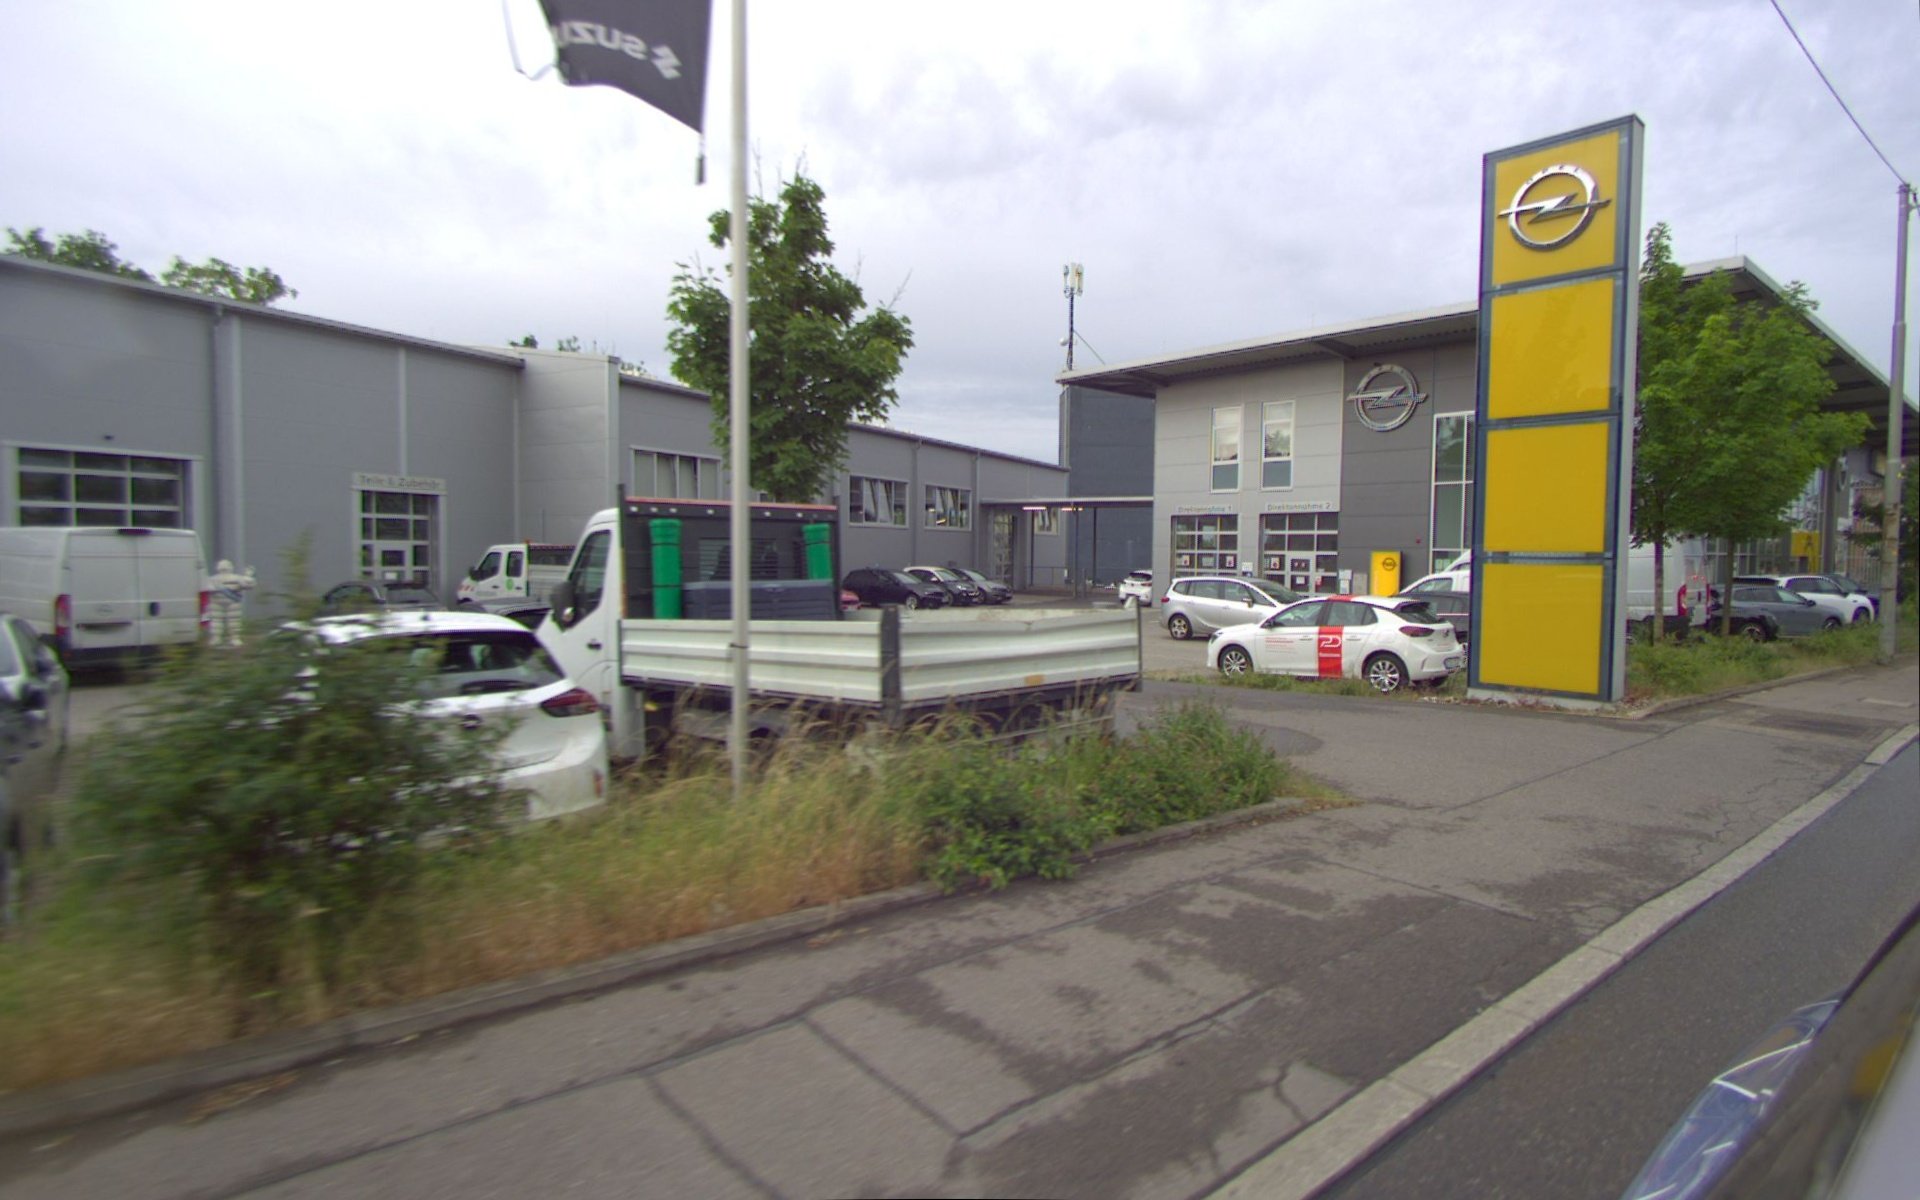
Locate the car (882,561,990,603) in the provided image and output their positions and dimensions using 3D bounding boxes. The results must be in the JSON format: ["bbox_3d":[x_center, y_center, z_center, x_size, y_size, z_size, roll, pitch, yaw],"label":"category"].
[{"bbox_3d":[-0.979,-0.736,40.394,3.966,1.569,1.828,2,1,30],"label":"car"}]

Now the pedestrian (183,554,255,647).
[{"bbox_3d":[-15.583,0.005,21.297,0.688,1.905,1.013,1,0,25],"label":"pedestrian"}]

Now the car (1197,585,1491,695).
[{"bbox_3d":[6.012,0.539,16.207,1.861,1.446,3.996,1,1,-39],"label":"car"}]

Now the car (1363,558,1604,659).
[{"bbox_3d":[10.886,0.083,21.269,1.810,1.869,4.138,-3,3,-38],"label":"car"}]

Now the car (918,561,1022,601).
[{"bbox_3d":[0.418,-0.811,42.055,3.966,1.569,1.828,2,1,30],"label":"car"}]

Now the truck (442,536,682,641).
[{"bbox_3d":[-10.325,-0.425,26.148,6.220,2.262,2.345,3,6,29],"label":"truck"}]

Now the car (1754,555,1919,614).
[{"bbox_3d":[28.493,-0.506,32.826,4.335,1.731,2.005,1,3,-14],"label":"car"}]

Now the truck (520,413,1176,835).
[{"bbox_3d":[-1.206,0.068,7.591,2.305,2.039,5.155,1,1,-42],"label":"truck"}]

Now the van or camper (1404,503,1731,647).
[{"bbox_3d":[13.184,-0.535,22.342,2.310,2.758,5.748,1,1,-40],"label":"van or camper"}]

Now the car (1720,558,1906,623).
[{"bbox_3d":[24.989,-0.293,29.678,4.481,1.731,2.006,1,3,-17],"label":"car"}]

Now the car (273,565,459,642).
[{"bbox_3d":[-13.285,0.023,22.616,3.864,1.571,1.809,1,1,27],"label":"car"}]

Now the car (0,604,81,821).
[{"bbox_3d":[-8.406,0.806,8.279,1.600,1.435,3.701,0,1,-38],"label":"car"}]

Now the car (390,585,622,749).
[{"bbox_3d":[-5.376,0.629,11.740,1.530,1.538,3.698,0,1,-40],"label":"car"}]

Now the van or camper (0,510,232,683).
[{"bbox_3d":[-14.940,-0.198,17.275,5.247,2.520,2.262,4,2,32],"label":"van or camper"}]

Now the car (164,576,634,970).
[{"bbox_3d":[-3.692,0.719,6.351,1.708,1.691,3.694,0,1,-44],"label":"car"}]

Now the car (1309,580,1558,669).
[{"bbox_3d":[8.946,0.382,19.382,1.717,1.448,3.995,-3,3,-40],"label":"car"}]

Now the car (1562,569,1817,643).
[{"bbox_3d":[17.148,0.105,24.016,4.441,1.472,1.913,2,3,7],"label":"car"}]

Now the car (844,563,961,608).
[{"bbox_3d":[-2.127,-0.566,37.195,3.967,1.440,1.822,3,4,30],"label":"car"}]

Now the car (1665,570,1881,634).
[{"bbox_3d":[21.041,0.036,26.243,4.476,1.472,1.921,1,3,-13],"label":"car"}]

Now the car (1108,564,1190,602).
[{"bbox_3d":[7.783,-0.687,41.366,1.985,1.438,3.954,1,1,32],"label":"car"}]

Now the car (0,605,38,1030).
[{"bbox_3d":[-5.490,0.822,4.565,1.885,1.472,3.863,0,2,-44],"label":"car"}]

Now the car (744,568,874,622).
[{"bbox_3d":[-4.789,-0.204,31.934,3.977,1.526,1.806,2,2,37],"label":"car"}]

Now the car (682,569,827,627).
[{"bbox_3d":[-6.032,-0.107,29.691,3.964,1.526,1.812,2,2,28],"label":"car"}]

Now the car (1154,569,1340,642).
[{"bbox_3d":[7.084,0.073,25.274,1.834,1.660,4.146,0,2,-42],"label":"car"}]
